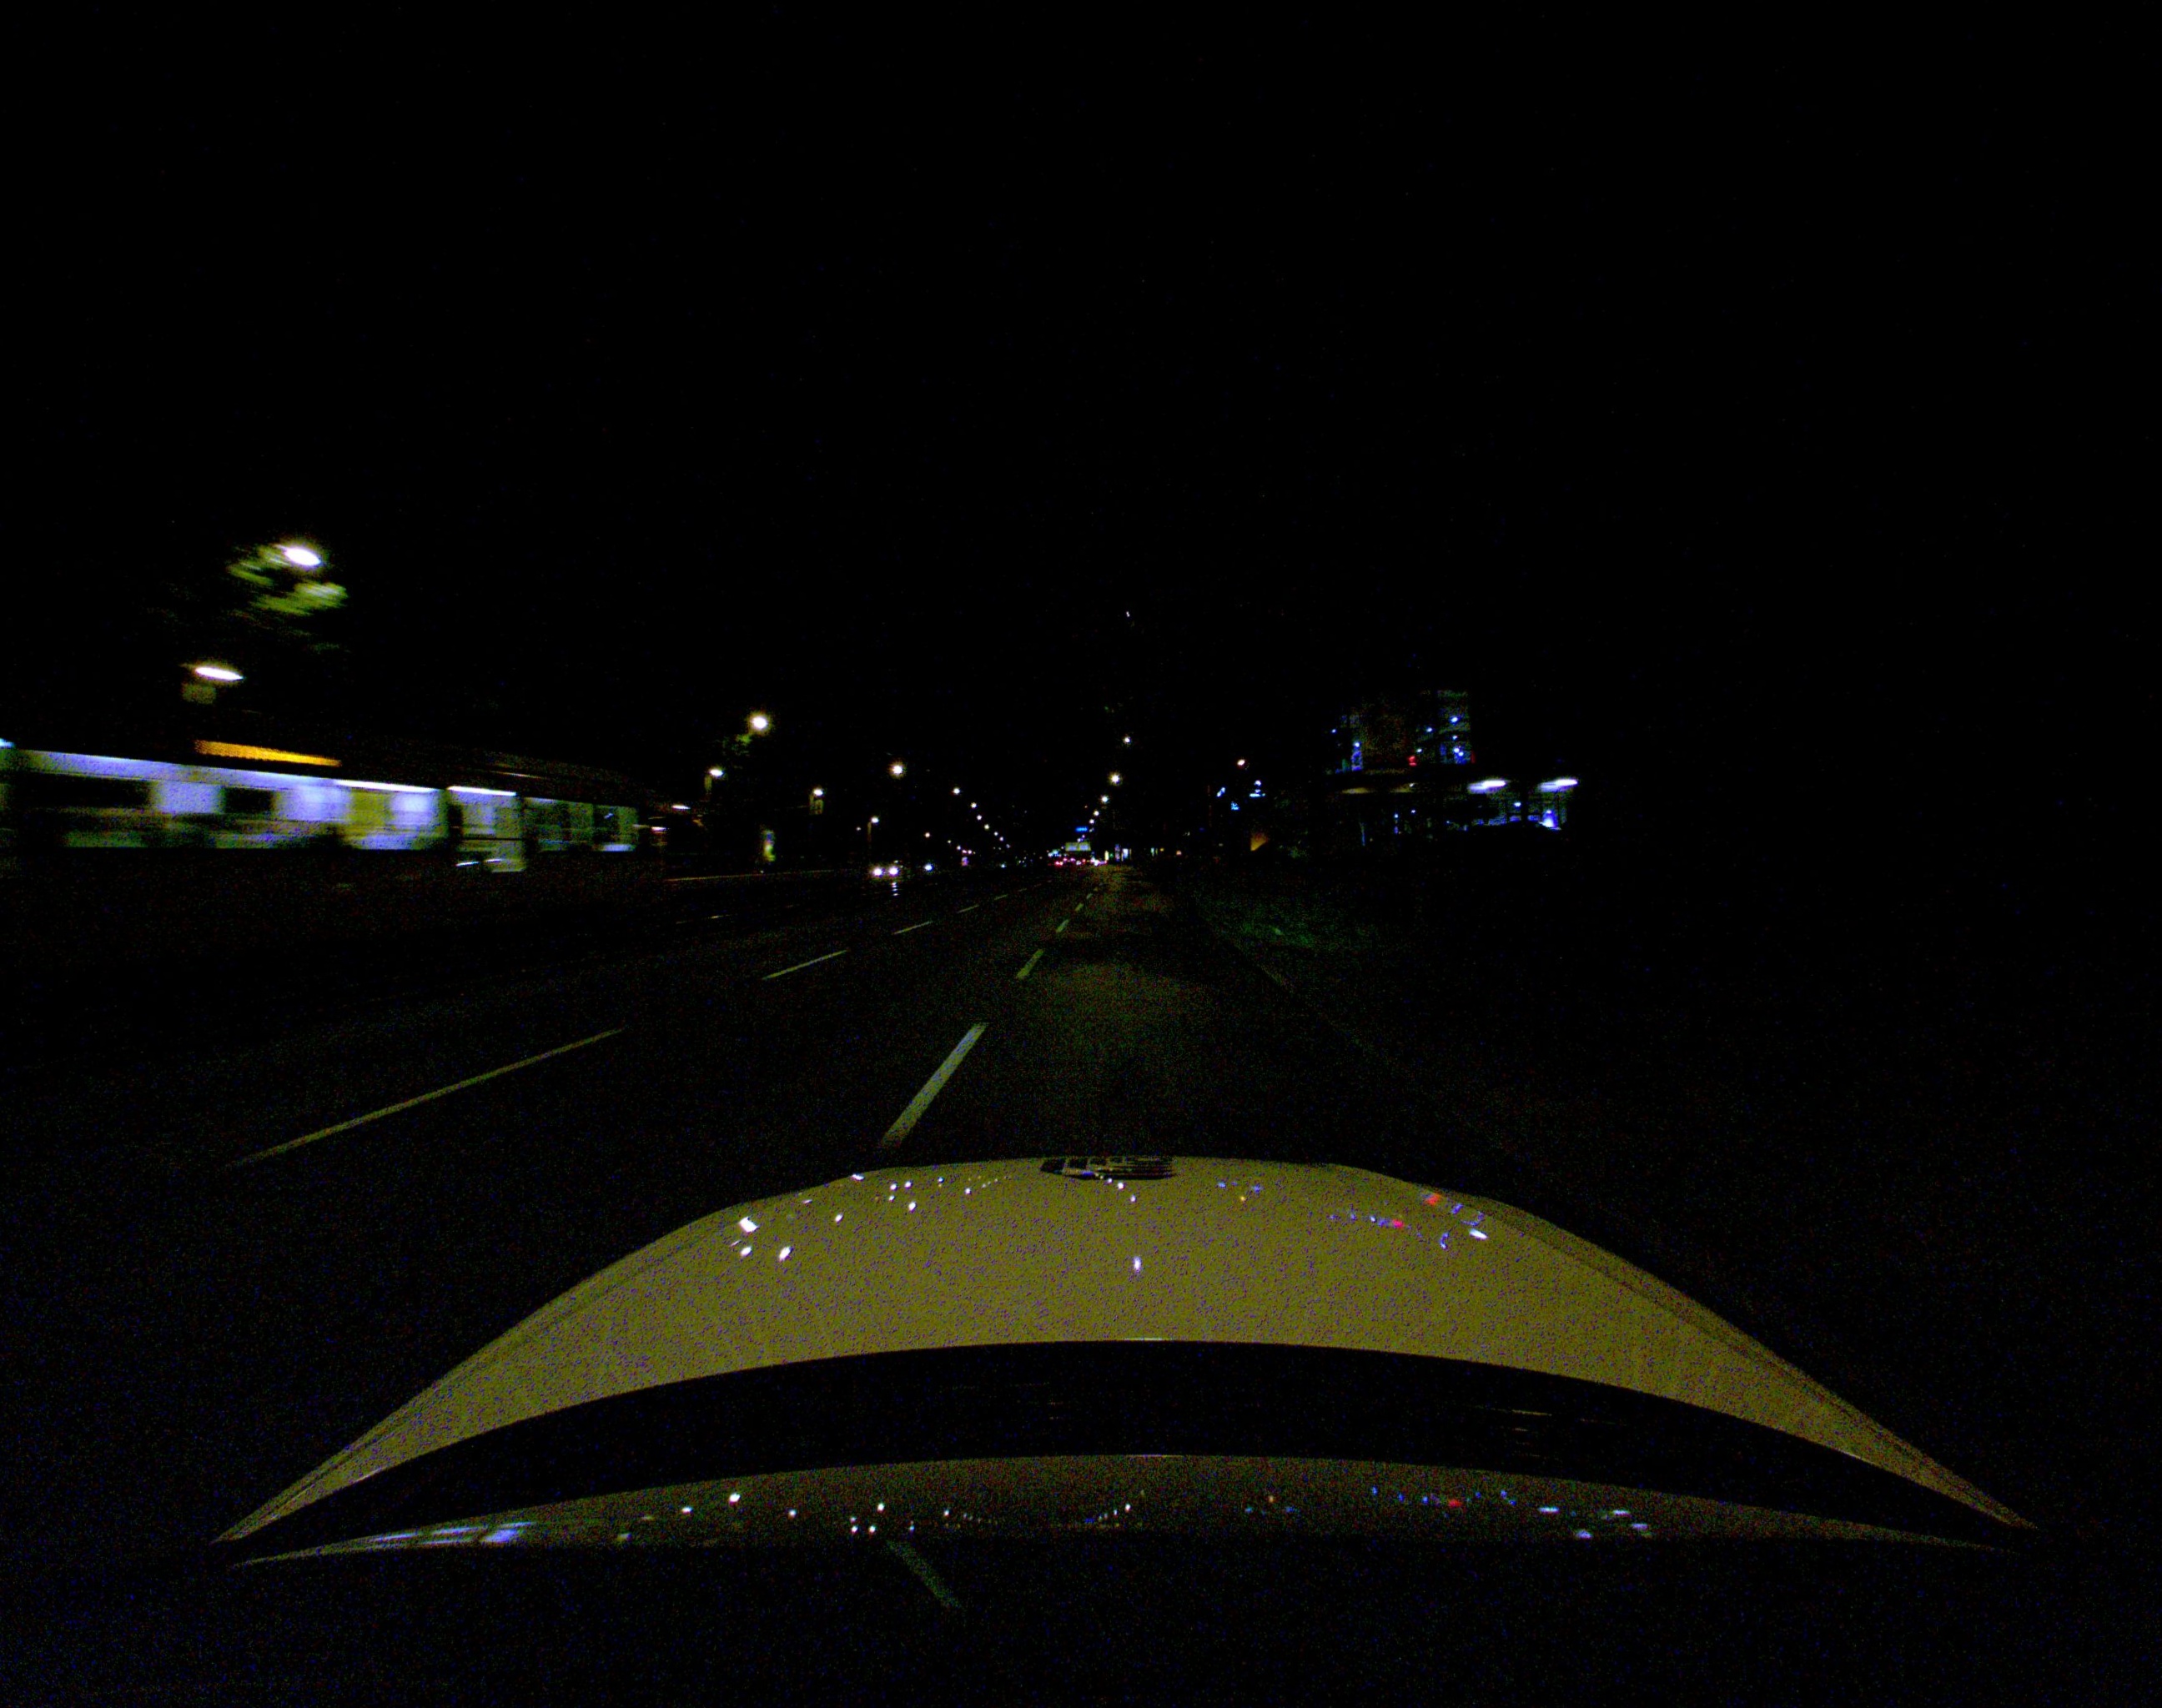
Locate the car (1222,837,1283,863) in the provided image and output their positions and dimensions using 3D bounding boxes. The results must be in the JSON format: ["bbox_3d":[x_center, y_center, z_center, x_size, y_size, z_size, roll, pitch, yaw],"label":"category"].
[{"bbox_3d":[14.180,-0.327,67.490,4.460,1.687,1.994,-6,1,-9],"label":"car"}]

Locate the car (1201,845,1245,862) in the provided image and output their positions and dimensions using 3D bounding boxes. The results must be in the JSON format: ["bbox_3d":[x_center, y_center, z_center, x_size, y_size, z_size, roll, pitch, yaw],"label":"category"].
[{"bbox_3d":[14.633,-0.085,84.255,4.030,1.373,1.817,-5,0,-15],"label":"car"}]

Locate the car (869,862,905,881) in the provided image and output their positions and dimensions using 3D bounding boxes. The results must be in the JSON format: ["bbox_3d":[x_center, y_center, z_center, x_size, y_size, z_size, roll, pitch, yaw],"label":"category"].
[{"bbox_3d":[-15.674,1.411,66.085,1.778,1.497,4.175,-1,-1,1],"label":"car"}]

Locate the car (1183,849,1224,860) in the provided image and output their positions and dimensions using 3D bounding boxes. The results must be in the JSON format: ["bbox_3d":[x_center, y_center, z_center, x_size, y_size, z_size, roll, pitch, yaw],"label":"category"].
[{"bbox_3d":[15.090,0.062,100.535,4.649,1.264,1.932,-2,1,-23],"label":"car"}]

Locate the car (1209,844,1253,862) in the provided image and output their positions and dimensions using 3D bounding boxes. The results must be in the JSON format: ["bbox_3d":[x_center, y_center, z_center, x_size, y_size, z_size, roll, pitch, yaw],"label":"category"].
[{"bbox_3d":[14.571,-0.092,79.046,3.805,1.453,1.710,-4,0,-12],"label":"car"}]

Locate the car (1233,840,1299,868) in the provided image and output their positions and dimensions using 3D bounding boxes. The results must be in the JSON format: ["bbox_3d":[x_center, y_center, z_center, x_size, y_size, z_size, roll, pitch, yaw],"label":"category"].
[{"bbox_3d":[13.504,-0.003,59.641,4.201,1.663,1.955,-4,0,-9],"label":"car"}]

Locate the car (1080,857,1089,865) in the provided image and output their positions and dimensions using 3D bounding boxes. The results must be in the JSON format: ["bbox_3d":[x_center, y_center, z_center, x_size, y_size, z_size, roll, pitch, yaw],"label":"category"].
[{"bbox_3d":[0.852,1.644,185.185,1.880,1.860,4.001,-1,-1,2],"label":"car"}]

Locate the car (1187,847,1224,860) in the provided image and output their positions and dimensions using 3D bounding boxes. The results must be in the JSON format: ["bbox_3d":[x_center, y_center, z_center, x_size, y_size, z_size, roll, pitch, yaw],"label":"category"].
[{"bbox_3d":[14.925,-0.115,97.816,3.995,1.424,1.899,-2,1,-16],"label":"car"}]

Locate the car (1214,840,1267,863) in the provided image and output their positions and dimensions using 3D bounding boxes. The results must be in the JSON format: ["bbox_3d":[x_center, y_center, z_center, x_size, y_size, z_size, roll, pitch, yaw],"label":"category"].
[{"bbox_3d":[13.789,-0.191,70.464,4.080,1.568,1.849,-6,1,-9],"label":"car"}]

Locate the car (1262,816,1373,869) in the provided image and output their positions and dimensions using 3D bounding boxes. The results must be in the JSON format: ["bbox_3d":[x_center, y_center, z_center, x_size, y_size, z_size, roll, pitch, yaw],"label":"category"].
[{"bbox_3d":[14.468,-0.712,49.819,6.029,2.529,2.272,-7,1,-15],"label":"car"}]

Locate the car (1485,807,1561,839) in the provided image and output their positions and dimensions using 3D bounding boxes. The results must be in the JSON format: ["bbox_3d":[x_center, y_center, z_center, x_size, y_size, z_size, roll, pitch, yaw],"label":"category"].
[{"bbox_3d":[28.091,-1.949,51.890,1.783,1.601,3.940,-7,1,-20],"label":"car"}]

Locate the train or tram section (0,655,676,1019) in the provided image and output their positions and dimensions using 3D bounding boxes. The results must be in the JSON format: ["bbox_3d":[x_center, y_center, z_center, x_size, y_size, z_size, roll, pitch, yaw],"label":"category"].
[{"bbox_3d":[-12.537,-0.157,12.058,2.747,3.827,18.686,-1,0,3],"label":"train or tram section"}]

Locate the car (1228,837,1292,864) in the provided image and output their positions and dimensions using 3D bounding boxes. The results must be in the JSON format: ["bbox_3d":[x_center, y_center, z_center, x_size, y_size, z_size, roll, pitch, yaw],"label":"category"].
[{"bbox_3d":[14.160,-0.312,64.650,4.459,1.810,1.994,-4,0,-9],"label":"car"}]

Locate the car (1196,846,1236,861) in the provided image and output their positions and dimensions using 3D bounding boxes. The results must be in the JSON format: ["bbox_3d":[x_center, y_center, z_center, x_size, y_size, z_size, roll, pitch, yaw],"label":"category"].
[{"bbox_3d":[14.853,-0.092,89.713,4.002,1.391,1.814,-3,1,-21],"label":"car"}]

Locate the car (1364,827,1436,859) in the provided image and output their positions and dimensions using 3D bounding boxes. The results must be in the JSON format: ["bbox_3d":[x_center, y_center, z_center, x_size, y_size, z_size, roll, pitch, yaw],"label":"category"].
[{"bbox_3d":[19.445,-0.646,49.815,1.812,1.712,3.940,-4,0,-20],"label":"car"}]

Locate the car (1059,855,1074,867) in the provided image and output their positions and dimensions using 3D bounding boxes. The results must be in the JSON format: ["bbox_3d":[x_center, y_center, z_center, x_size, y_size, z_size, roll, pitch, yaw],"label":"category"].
[{"bbox_3d":[-2.476,1.181,140.265,2.254,2.014,4.827,-1,-1,1],"label":"car"}]

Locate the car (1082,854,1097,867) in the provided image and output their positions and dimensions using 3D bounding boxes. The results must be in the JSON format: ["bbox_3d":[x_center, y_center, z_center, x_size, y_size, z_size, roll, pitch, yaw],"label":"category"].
[{"bbox_3d":[1.465,1.090,141.961,2.347,2.129,4.827,-3,-1,1],"label":"car"}]

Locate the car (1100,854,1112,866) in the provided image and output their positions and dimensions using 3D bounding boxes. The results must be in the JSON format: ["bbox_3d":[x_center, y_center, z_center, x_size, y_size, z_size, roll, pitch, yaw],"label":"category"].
[{"bbox_3d":[4.829,1.194,157.363,2.418,2.113,4.827,-1,-1,1],"label":"car"}]

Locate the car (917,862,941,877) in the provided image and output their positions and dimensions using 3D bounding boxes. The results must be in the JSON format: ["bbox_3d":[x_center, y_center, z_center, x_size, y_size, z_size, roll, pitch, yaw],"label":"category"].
[{"bbox_3d":[-16.796,1.716,90.211,1.653,1.516,3.914,-1,-1,4],"label":"car"}]

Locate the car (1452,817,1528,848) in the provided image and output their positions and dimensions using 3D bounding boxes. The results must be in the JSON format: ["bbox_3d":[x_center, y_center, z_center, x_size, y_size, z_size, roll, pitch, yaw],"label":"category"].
[{"bbox_3d":[25.278,-1.292,50.472,1.800,1.577,3.940,-7,1,-20],"label":"car"}]
